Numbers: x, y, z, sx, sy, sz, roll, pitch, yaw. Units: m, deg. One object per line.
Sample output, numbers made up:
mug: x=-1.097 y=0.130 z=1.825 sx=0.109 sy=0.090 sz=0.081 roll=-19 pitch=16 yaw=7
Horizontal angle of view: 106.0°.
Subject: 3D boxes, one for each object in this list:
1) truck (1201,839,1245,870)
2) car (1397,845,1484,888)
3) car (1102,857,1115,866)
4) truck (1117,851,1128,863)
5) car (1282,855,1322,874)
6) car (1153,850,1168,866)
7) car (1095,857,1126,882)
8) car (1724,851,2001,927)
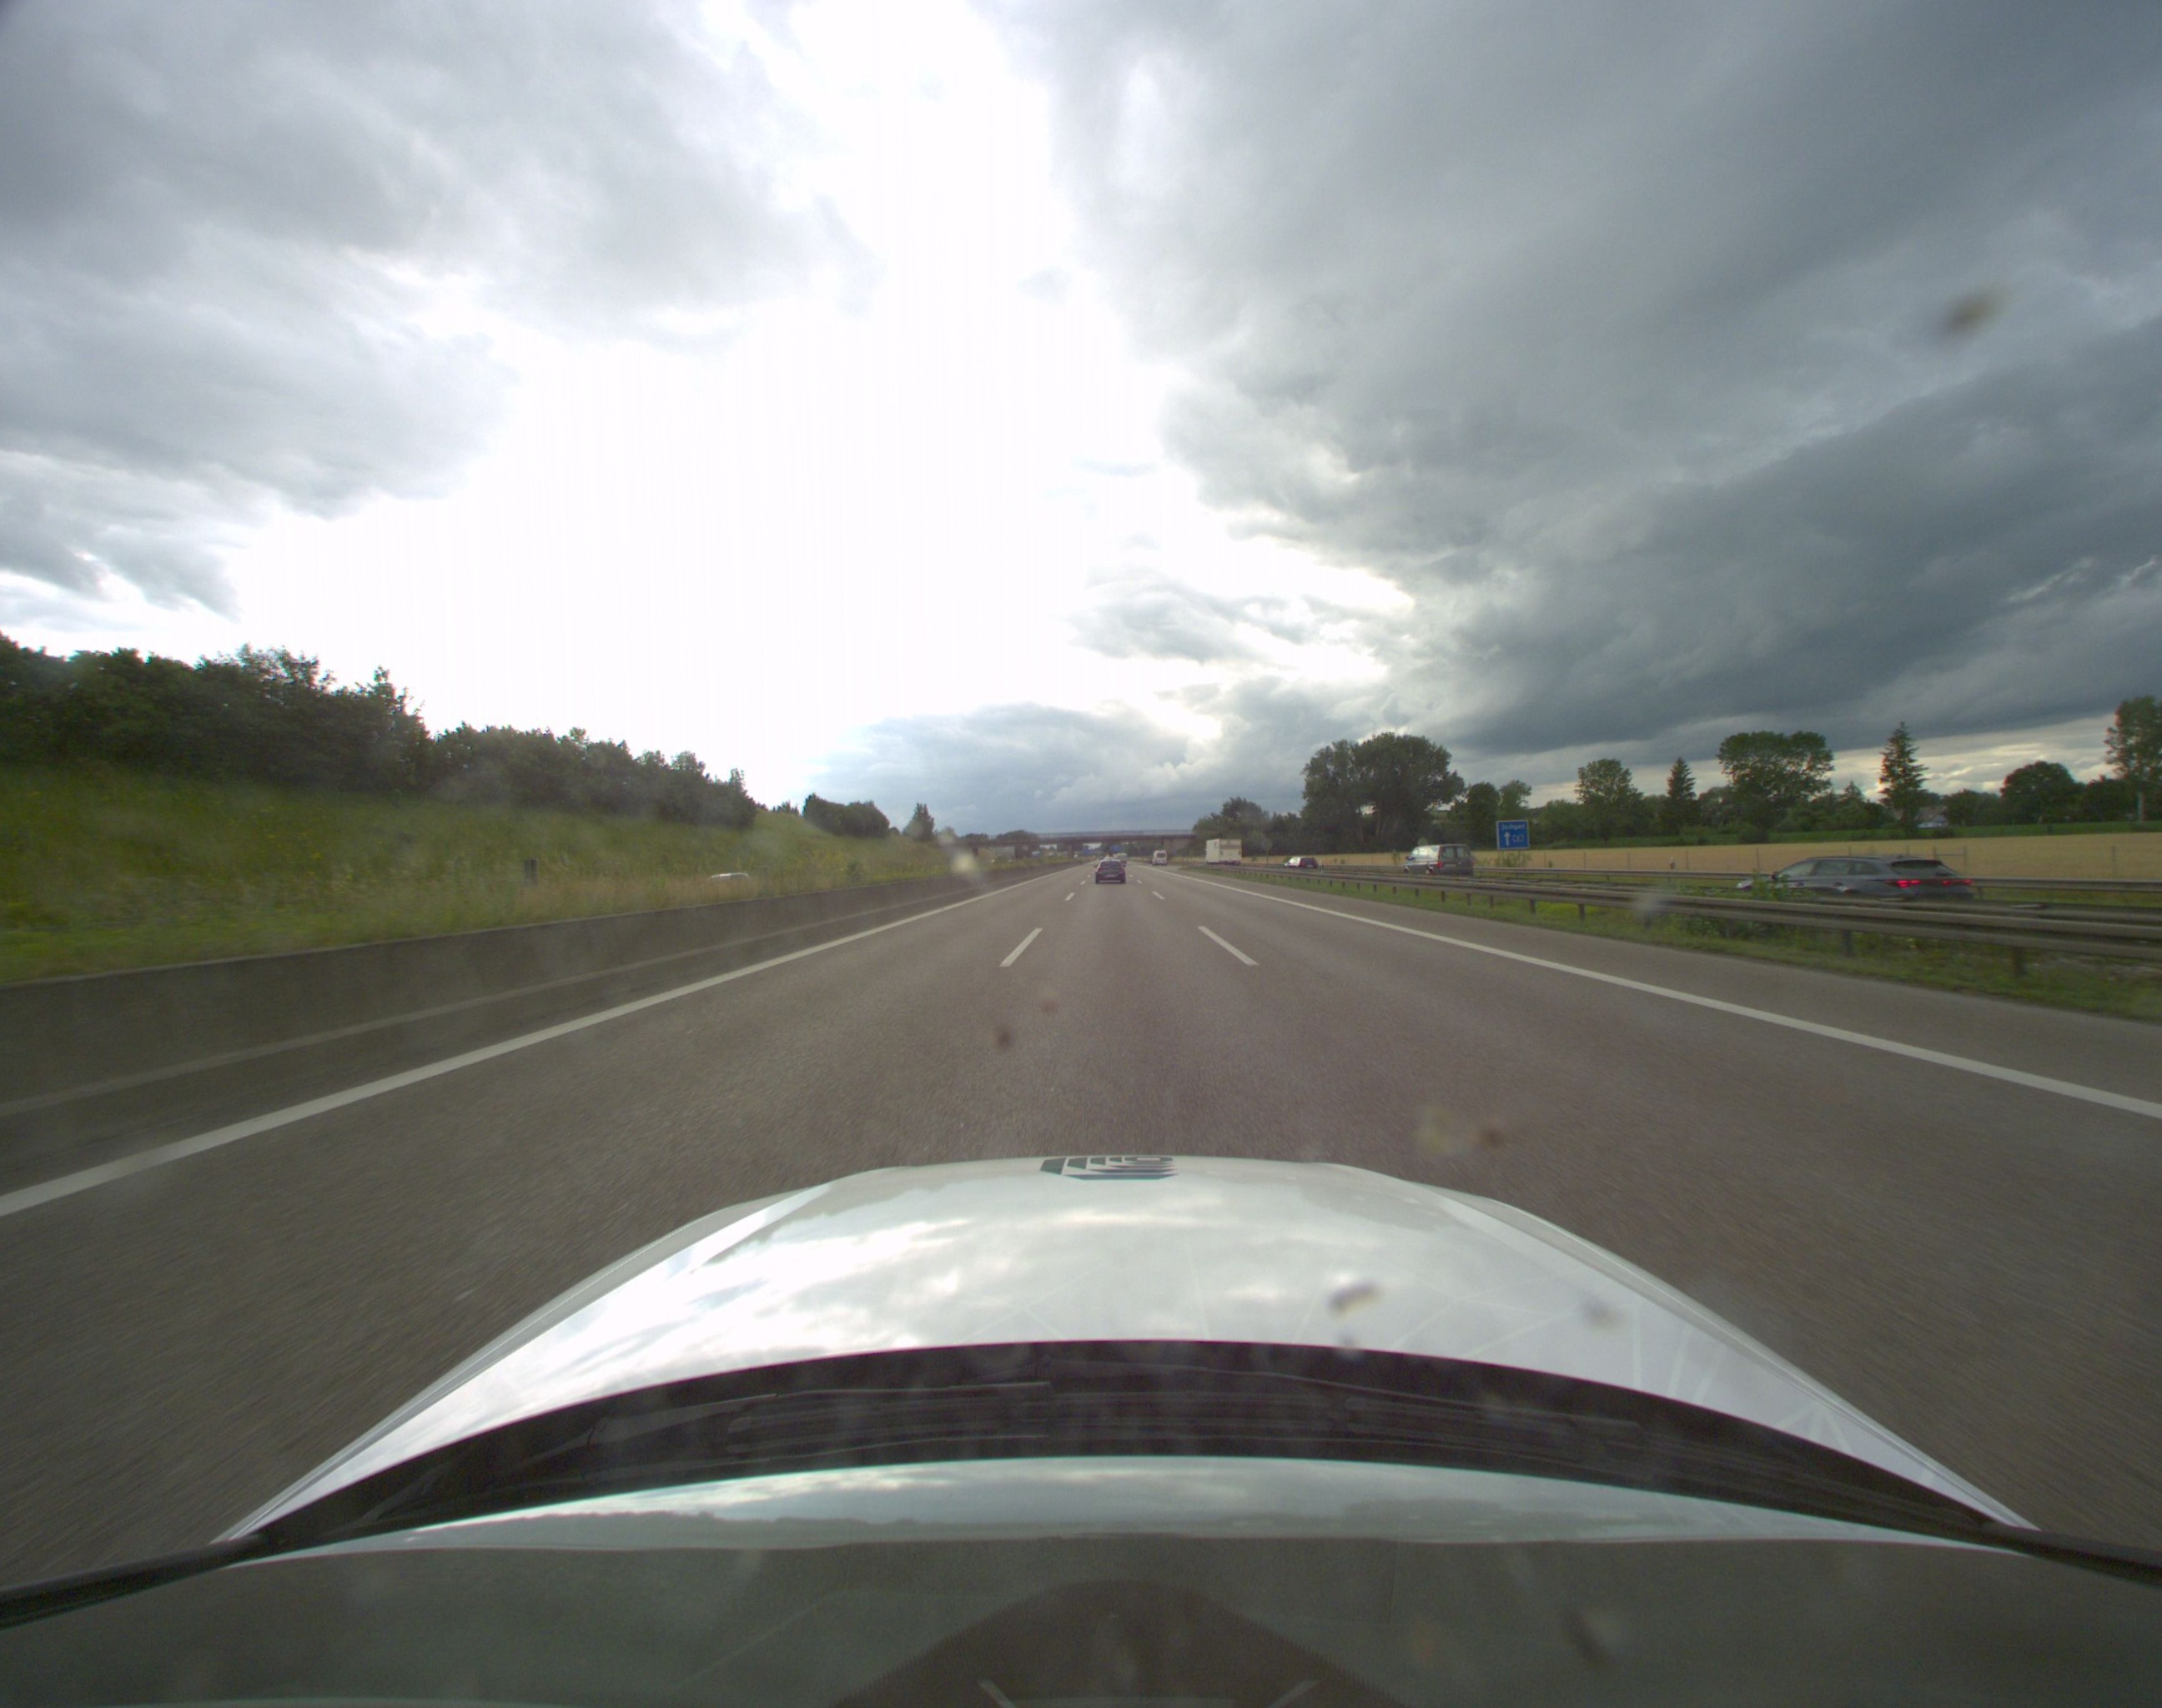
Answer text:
truck: x=16.477 y=0.102 z=94.922 sx=3.098 sy=3.471 sz=8.879 roll=0 pitch=-1 yaw=-4
car: x=18.200 y=0.601 z=41.533 sx=2.138 sy=2.063 sz=4.955 roll=-1 pitch=0 yaw=-1
car: x=4.474 y=1.251 z=131.786 sx=1.986 sy=1.298 sz=4.001 roll=-2 pitch=-1 yaw=1
truck: x=10.453 y=0.721 z=206.025 sx=2.700 sy=2.964 sz=12.450 roll=0 pitch=0 yaw=2
car: x=18.945 y=0.870 z=69.977 sx=1.912 sy=1.550 sz=4.920 roll=-2 pitch=0 yaw=-2
car: x=13.829 y=0.685 z=142.603 sx=2.213 sy=2.568 sz=6.258 roll=-1 pitch=0 yaw=2
car: x=1.750 y=0.896 z=48.744 sx=1.737 sy=1.389 sz=4.001 roll=0 pitch=0 yaw=2
car: x=17.178 y=0.697 z=18.295 sx=1.745 sy=1.484 sz=4.590 roll=0 pitch=0 yaw=-2
